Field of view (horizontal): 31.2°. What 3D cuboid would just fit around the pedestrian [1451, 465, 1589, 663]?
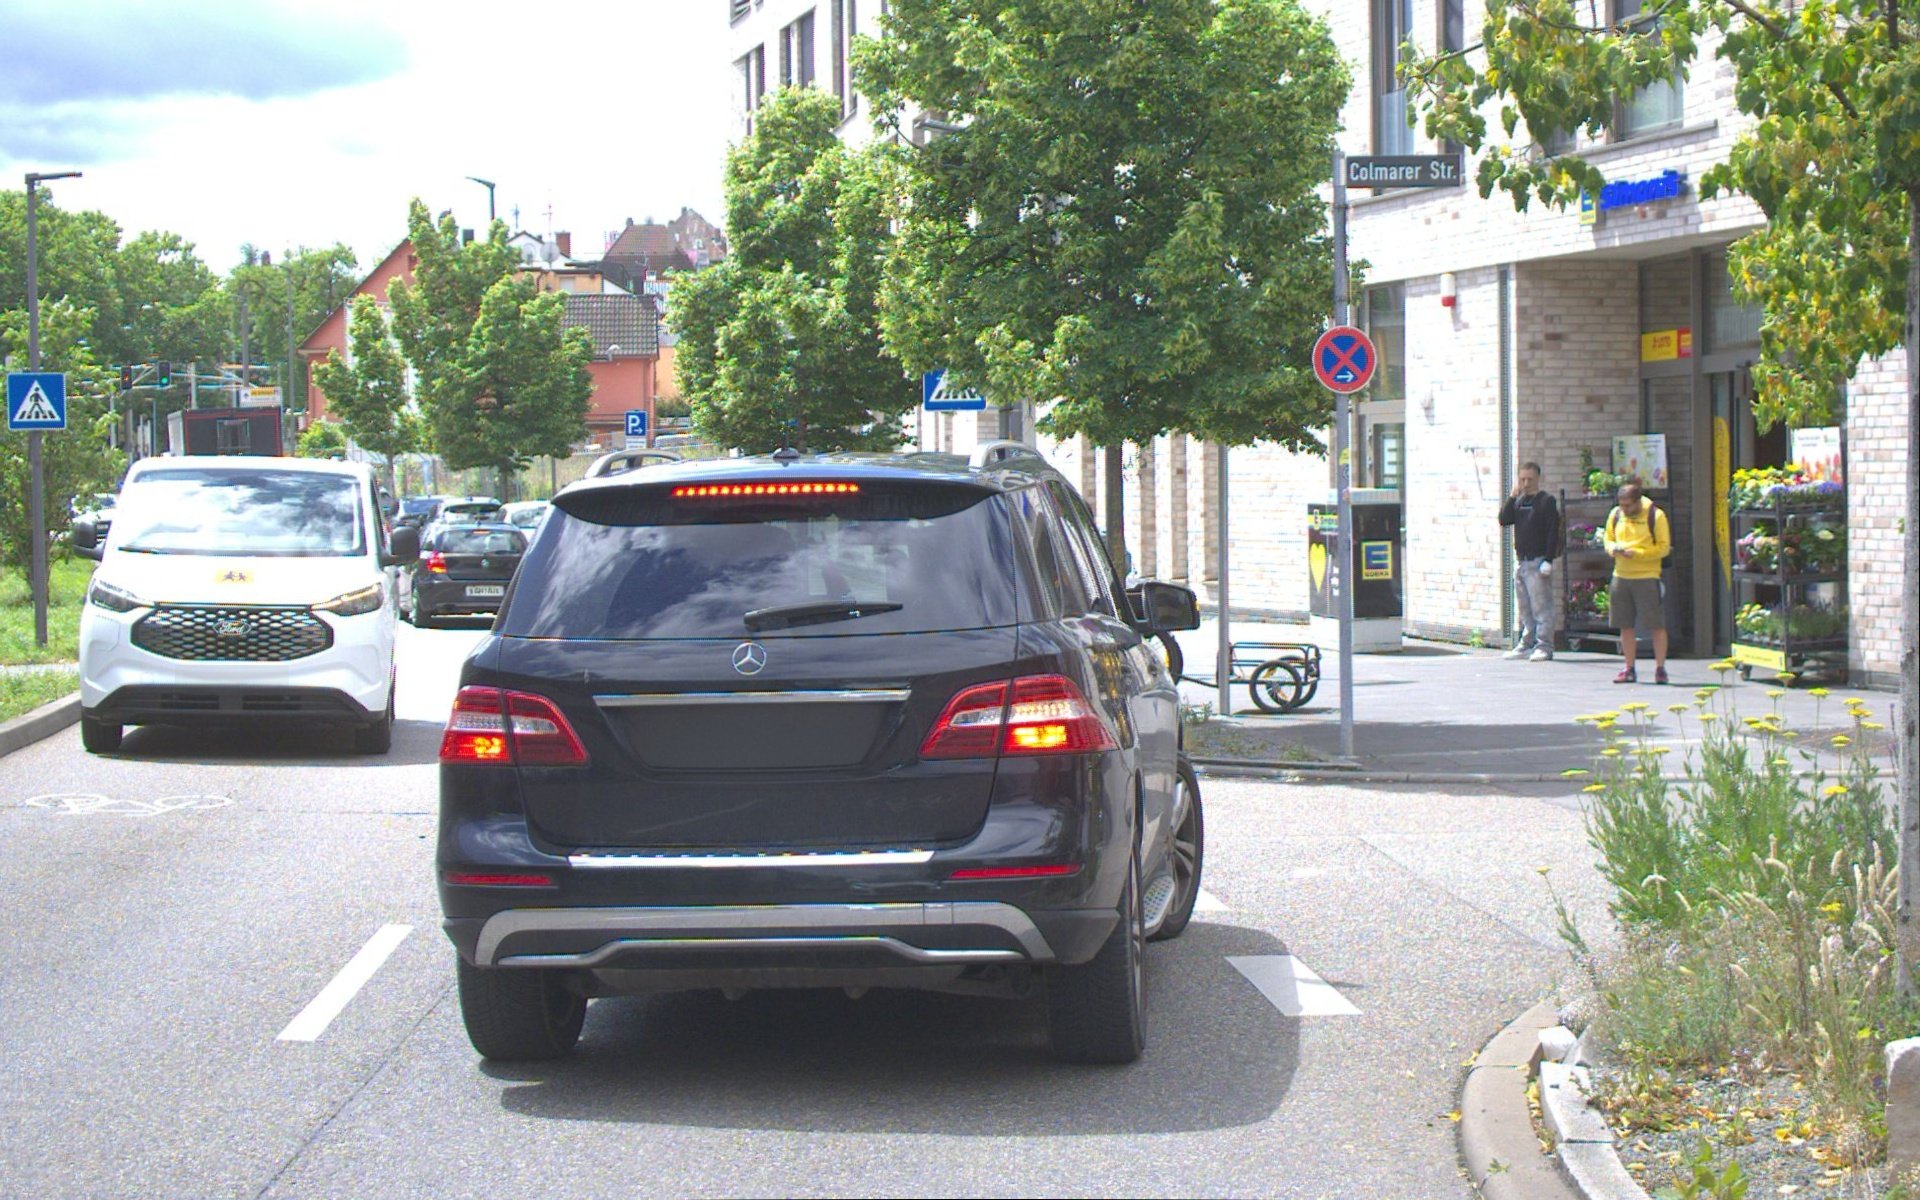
[{"bbox_3d":[5.027,-0.334,30.889,1.014,1.735,0.660,-2,2,-18],"label":"pedestrian"}]

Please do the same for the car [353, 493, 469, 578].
[{"bbox_3d":[-10.034,-1.198,62.710,1.711,1.388,3.810,-2,3,-14],"label":"car"}]

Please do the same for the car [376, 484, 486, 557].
[{"bbox_3d":[-11.636,-1.773,75.424,1.864,1.446,4.645,-3,3,-15],"label":"car"}]

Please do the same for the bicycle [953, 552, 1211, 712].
[{"bbox_3d":[0.918,0.231,26.108,1.822,1.127,0.756,-2,1,-8],"label":"bicycle"}]

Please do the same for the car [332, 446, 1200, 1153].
[{"bbox_3d":[-0.344,0.430,10.945,1.994,1.740,4.531,-2,2,6],"label":"car"}]

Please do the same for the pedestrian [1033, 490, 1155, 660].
[{"bbox_3d":[1.252,-0.233,32.266,0.812,1.560,0.930,0,0,-24],"label":"pedestrian"}]

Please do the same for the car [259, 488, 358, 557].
[{"bbox_3d":[-14.659,-1.755,77.215,1.887,1.460,4.071,-2,2,-14],"label":"car"}]

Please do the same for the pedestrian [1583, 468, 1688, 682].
[{"bbox_3d":[5.390,-0.205,27.427,0.658,1.686,0.631,0,2,26],"label":"pedestrian"}]

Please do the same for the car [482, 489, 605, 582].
[{"bbox_3d":[-7.301,-1.147,60.022,1.692,1.478,3.799,-3,3,-13],"label":"car"}]

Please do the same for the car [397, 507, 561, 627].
[{"bbox_3d":[-6.589,-0.486,46.804,1.726,1.451,3.810,-2,3,-15],"label":"car"}]

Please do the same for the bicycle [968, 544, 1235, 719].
[{"bbox_3d":[1.032,0.220,25.284,1.822,1.196,0.756,-2,1,-8],"label":"bicycle"}]

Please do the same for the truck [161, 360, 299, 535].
[{"bbox_3d":[-20.112,-4.054,94.339,3.202,4.520,9.031,0,1,-15],"label":"truck"}]

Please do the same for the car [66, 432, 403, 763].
[{"bbox_3d":[-4.895,-0.082,23.841,1.993,2.007,5.396,1,1,-9],"label":"car"}]

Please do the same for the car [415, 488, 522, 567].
[{"bbox_3d":[-9.885,-1.479,68.997,1.692,1.456,4.148,-3,3,-13],"label":"car"}]

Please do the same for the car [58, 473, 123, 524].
[{"bbox_3d":[-25.765,-3.013,101.897,1.811,1.464,3.909,0,2,-14],"label":"car"}]

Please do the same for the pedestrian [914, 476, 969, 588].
[{"bbox_3d":[-0.247,-0.920,46.208,0.607,1.467,0.791,-2,3,-7],"label":"pedestrian"}]

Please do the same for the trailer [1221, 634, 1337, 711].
[{"bbox_3d":[2.340,0.527,25.263,0.719,0.526,0.812,0,1,-4],"label":"trailer"}]
